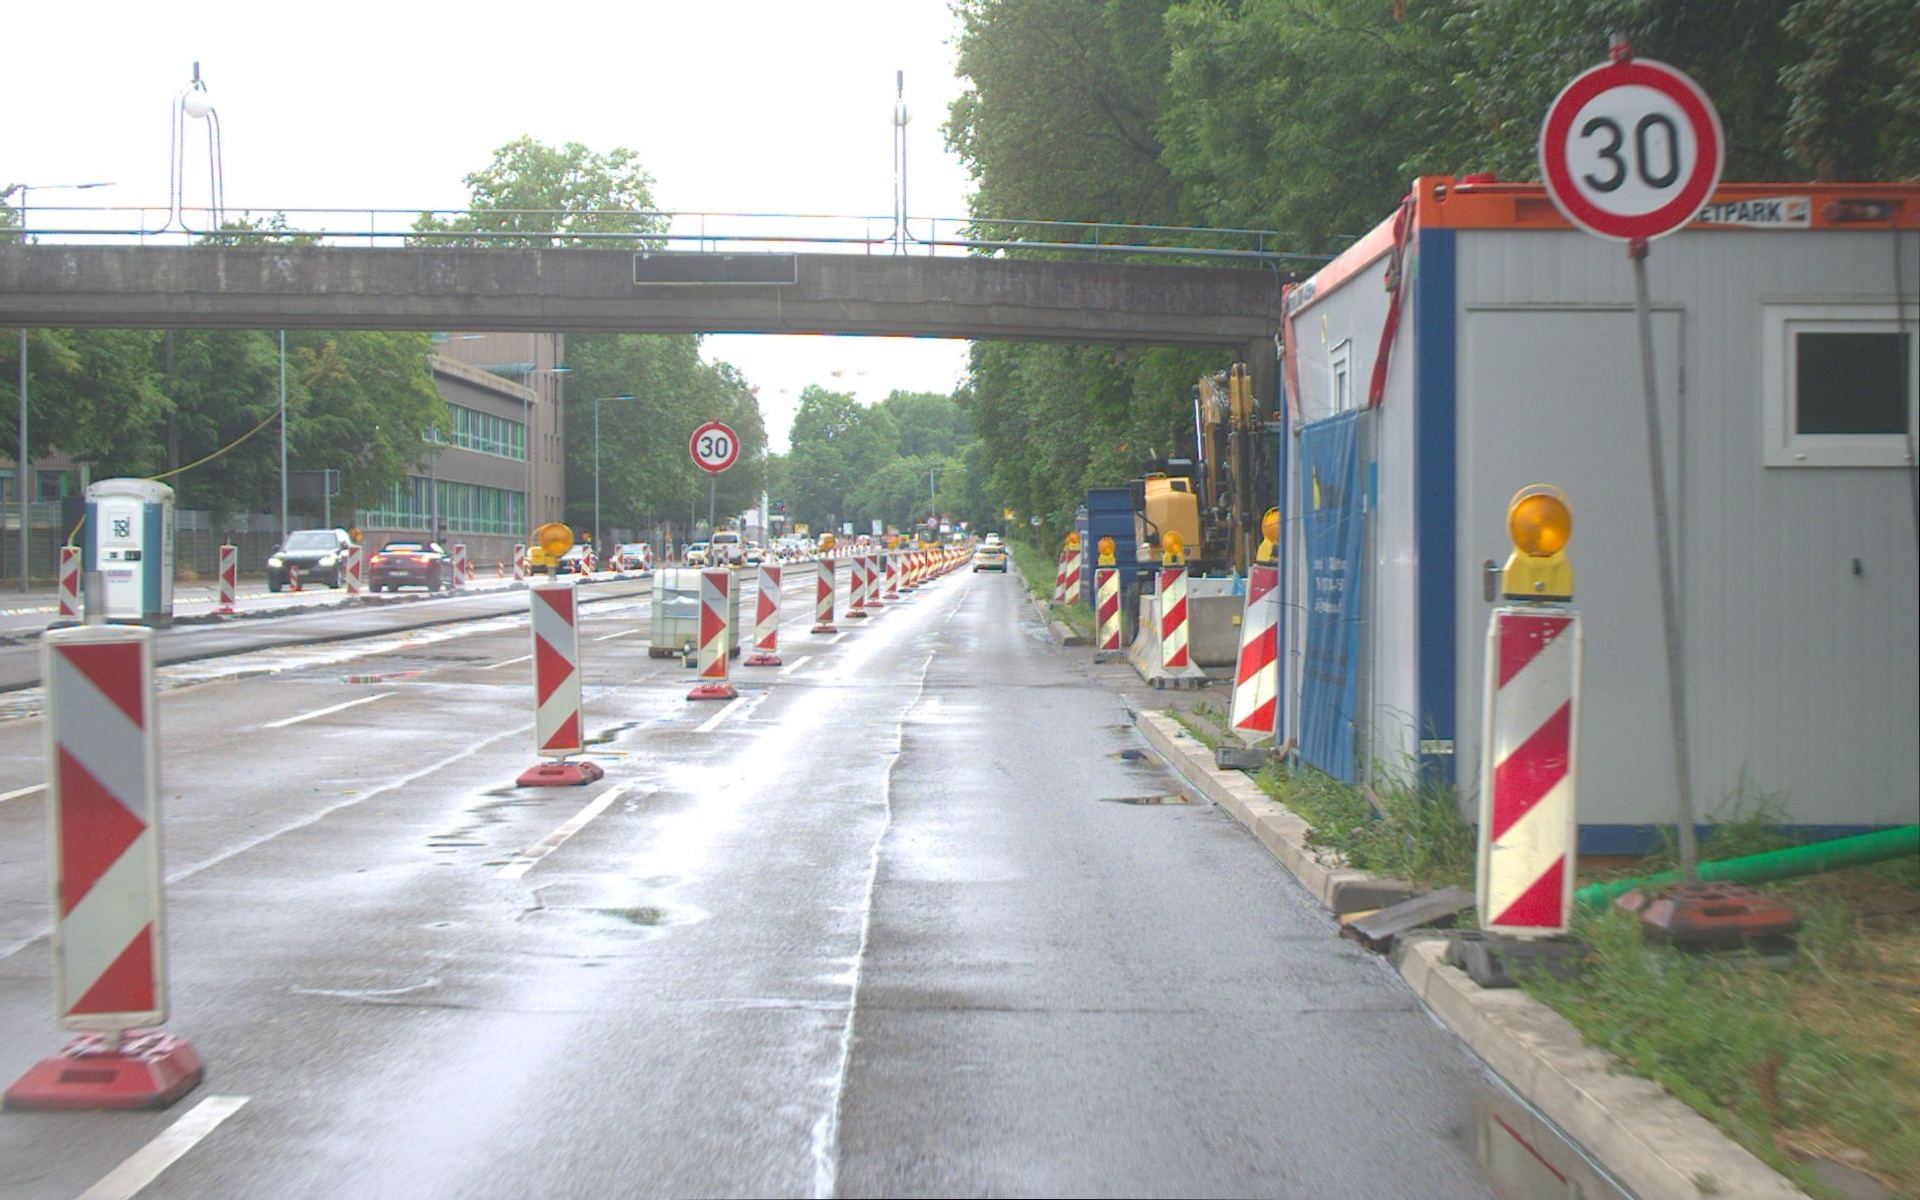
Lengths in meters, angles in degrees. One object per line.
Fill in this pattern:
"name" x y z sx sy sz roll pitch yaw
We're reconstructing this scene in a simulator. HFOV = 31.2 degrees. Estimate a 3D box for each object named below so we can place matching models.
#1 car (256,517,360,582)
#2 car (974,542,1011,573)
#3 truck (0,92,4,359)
"car" -18.510 -1.431 97.741 1.971 1.800 4.607 0 1 1
"car" 1.735 -2.277 184.692 1.993 1.634 4.000 0 1 0
"truck" -7.130 -1.025 16.423 2.897 4.244 10.758 1 1 -5
